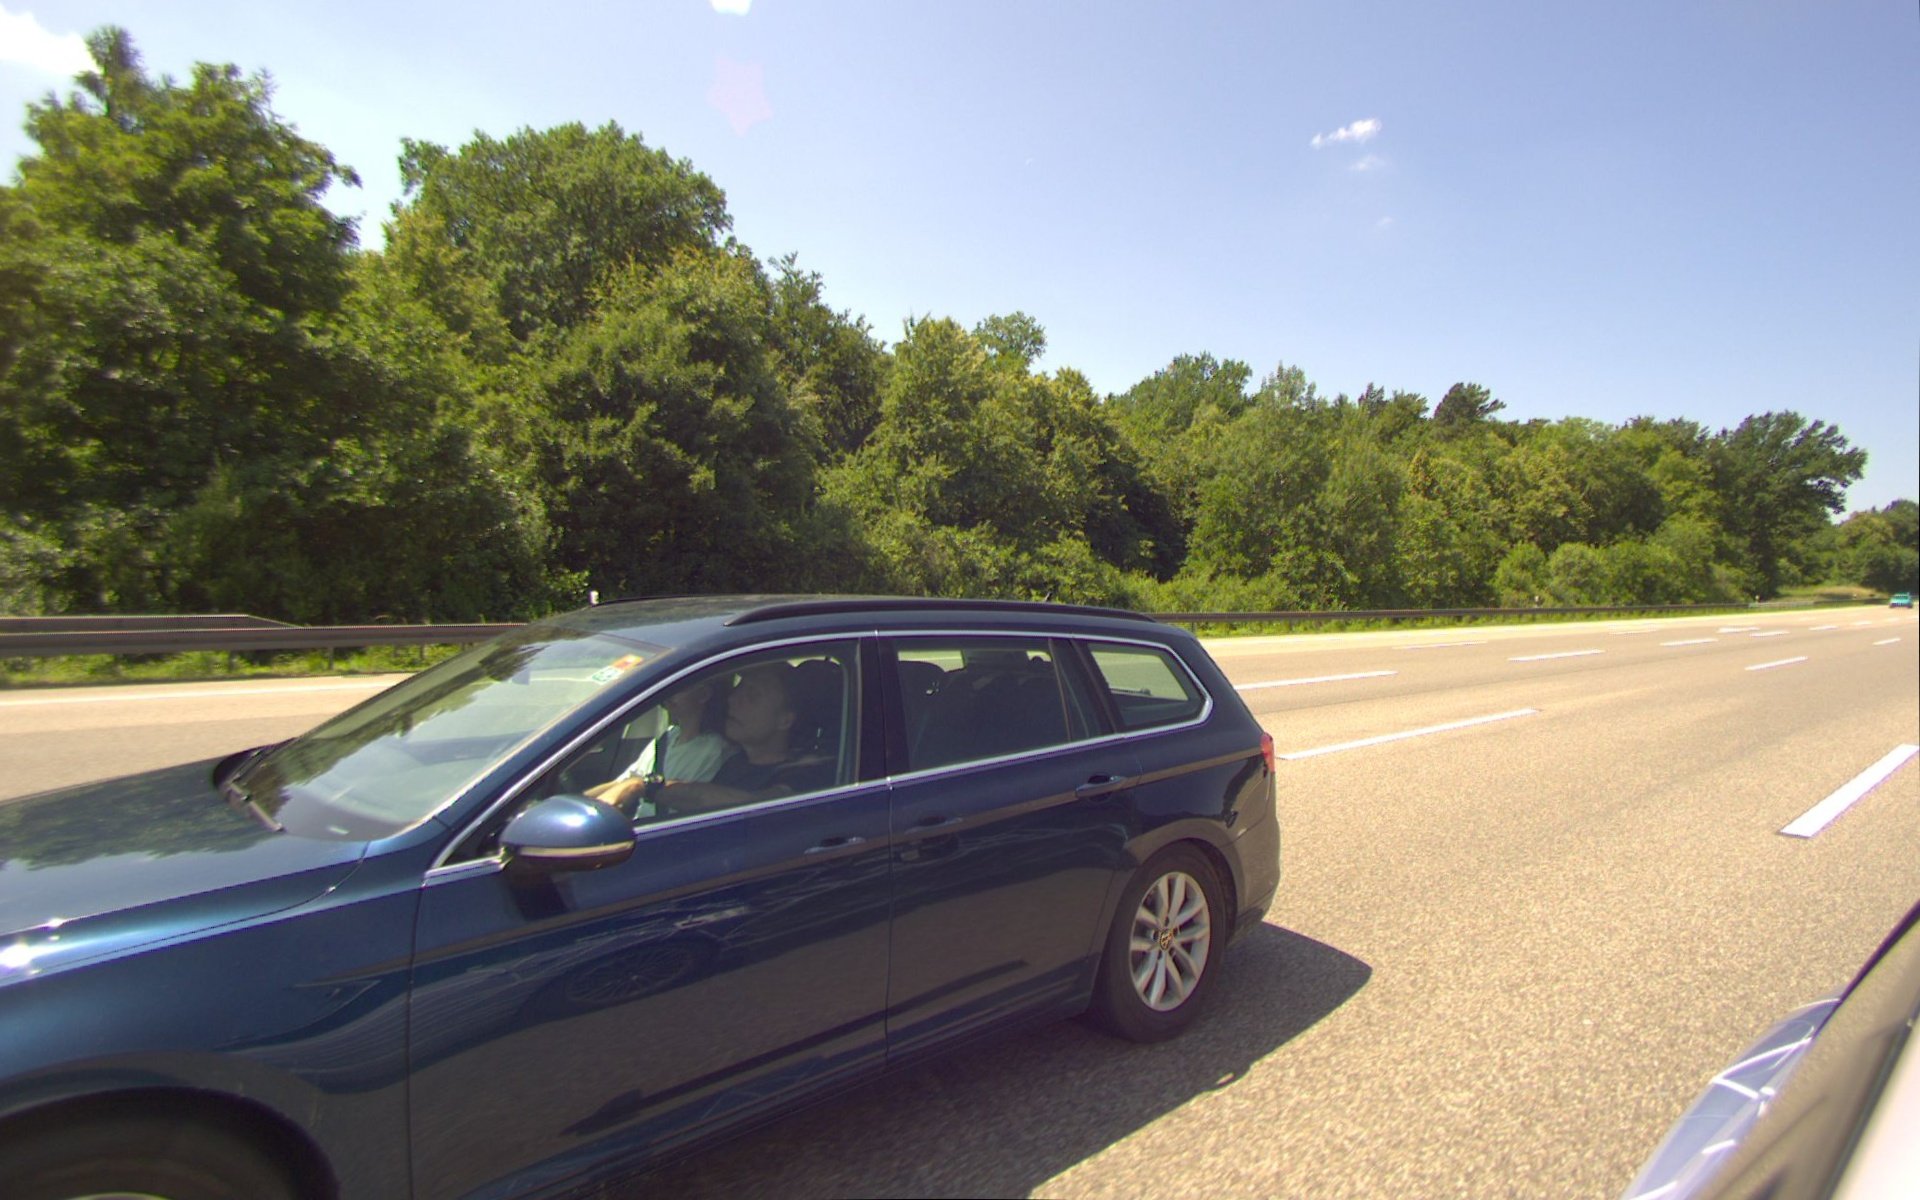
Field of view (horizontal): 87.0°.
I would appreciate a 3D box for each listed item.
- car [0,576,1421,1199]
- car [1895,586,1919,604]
[{"bbox_3d":[-0.490,0.691,3.332,4.873,1.465,1.733,0,2,-40],"label":"car"},{"bbox_3d":[97.158,-0.511,103.200,4.053,1.701,1.999,-1,3,-39],"label":"car"}]
